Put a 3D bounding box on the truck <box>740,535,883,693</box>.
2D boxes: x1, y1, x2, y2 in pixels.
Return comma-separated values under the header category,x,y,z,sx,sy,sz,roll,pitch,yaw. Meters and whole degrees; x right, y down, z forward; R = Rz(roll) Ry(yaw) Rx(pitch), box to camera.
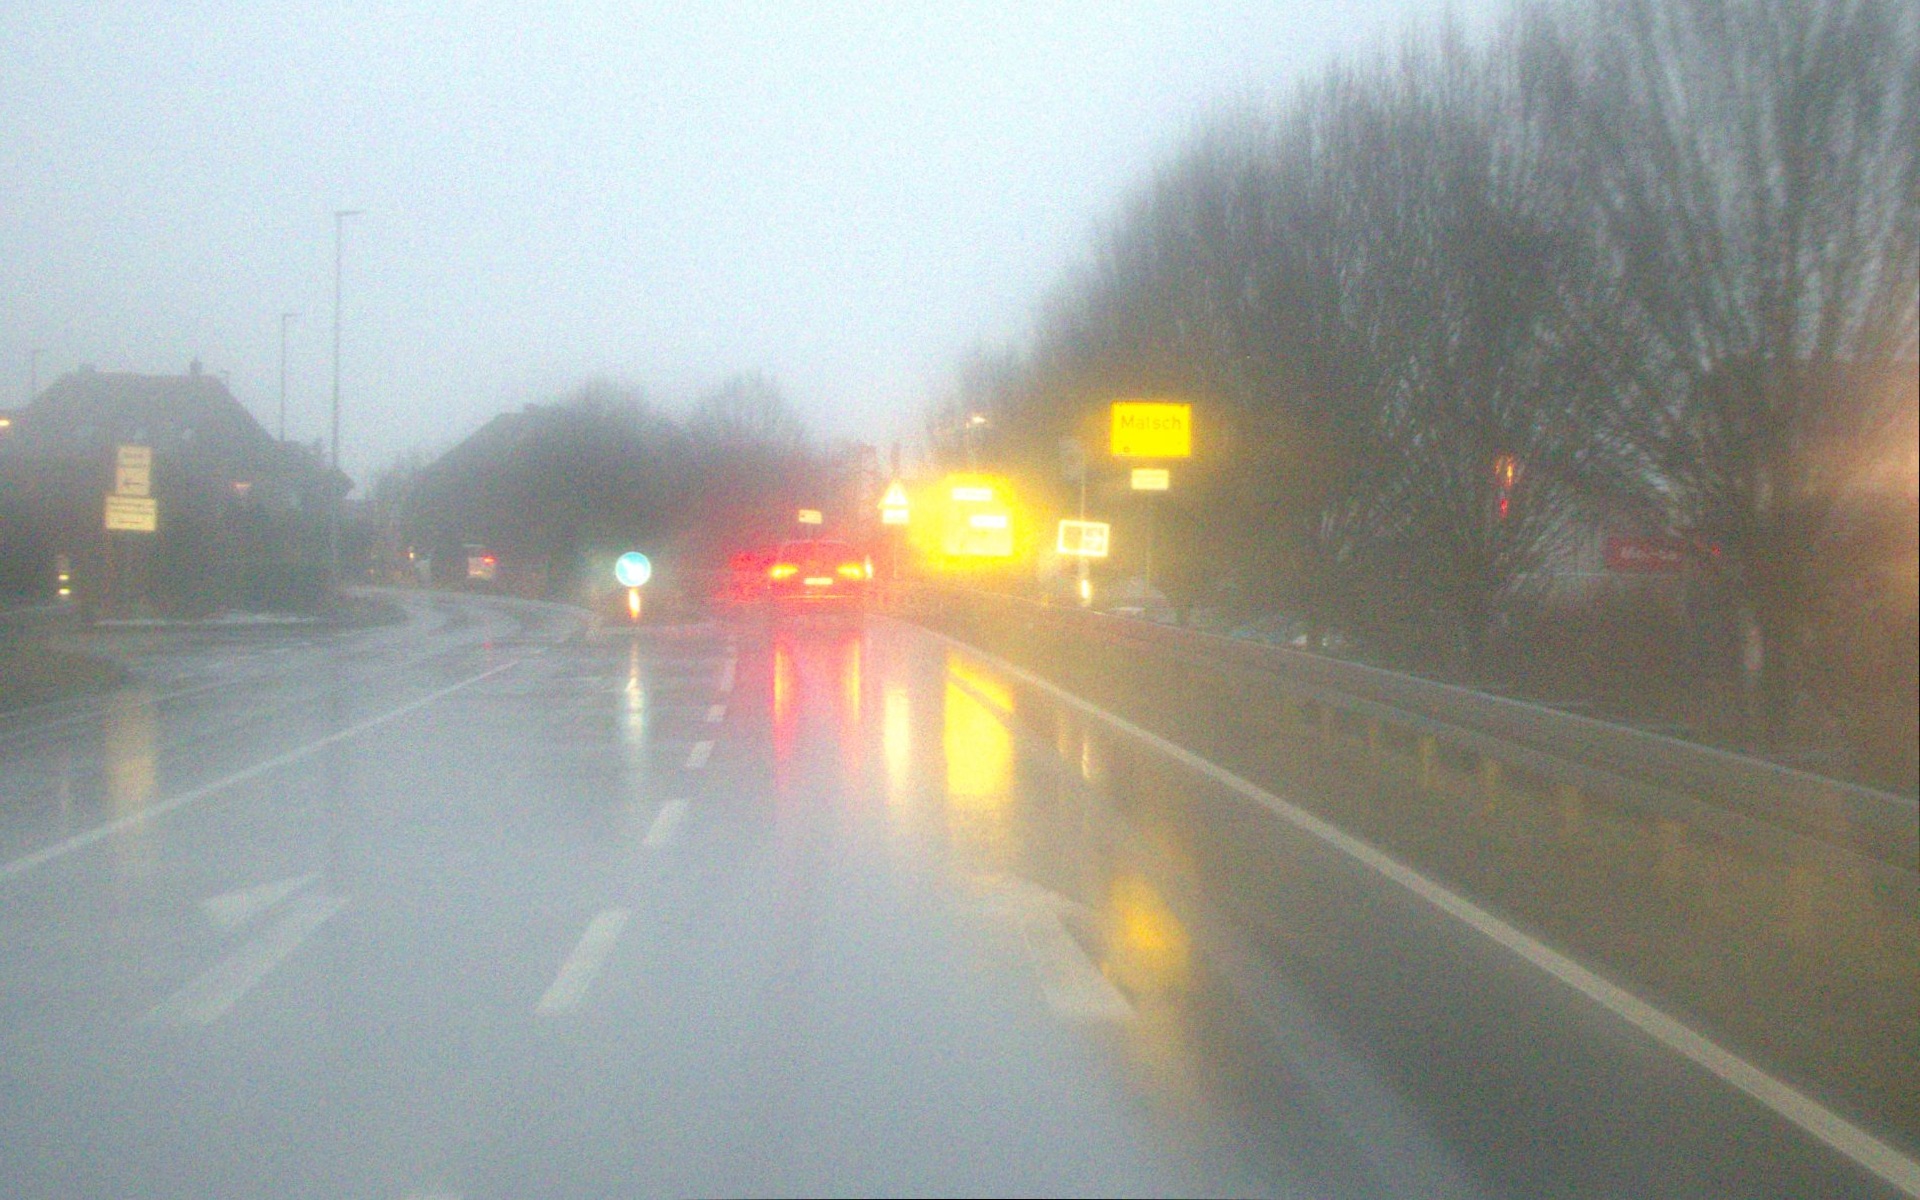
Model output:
category,x,y,z,sx,sy,sz,roll,pitch,yaw
truck,-2.945,0.222,66.686,2.531,2.859,5.923,2,1,-4
